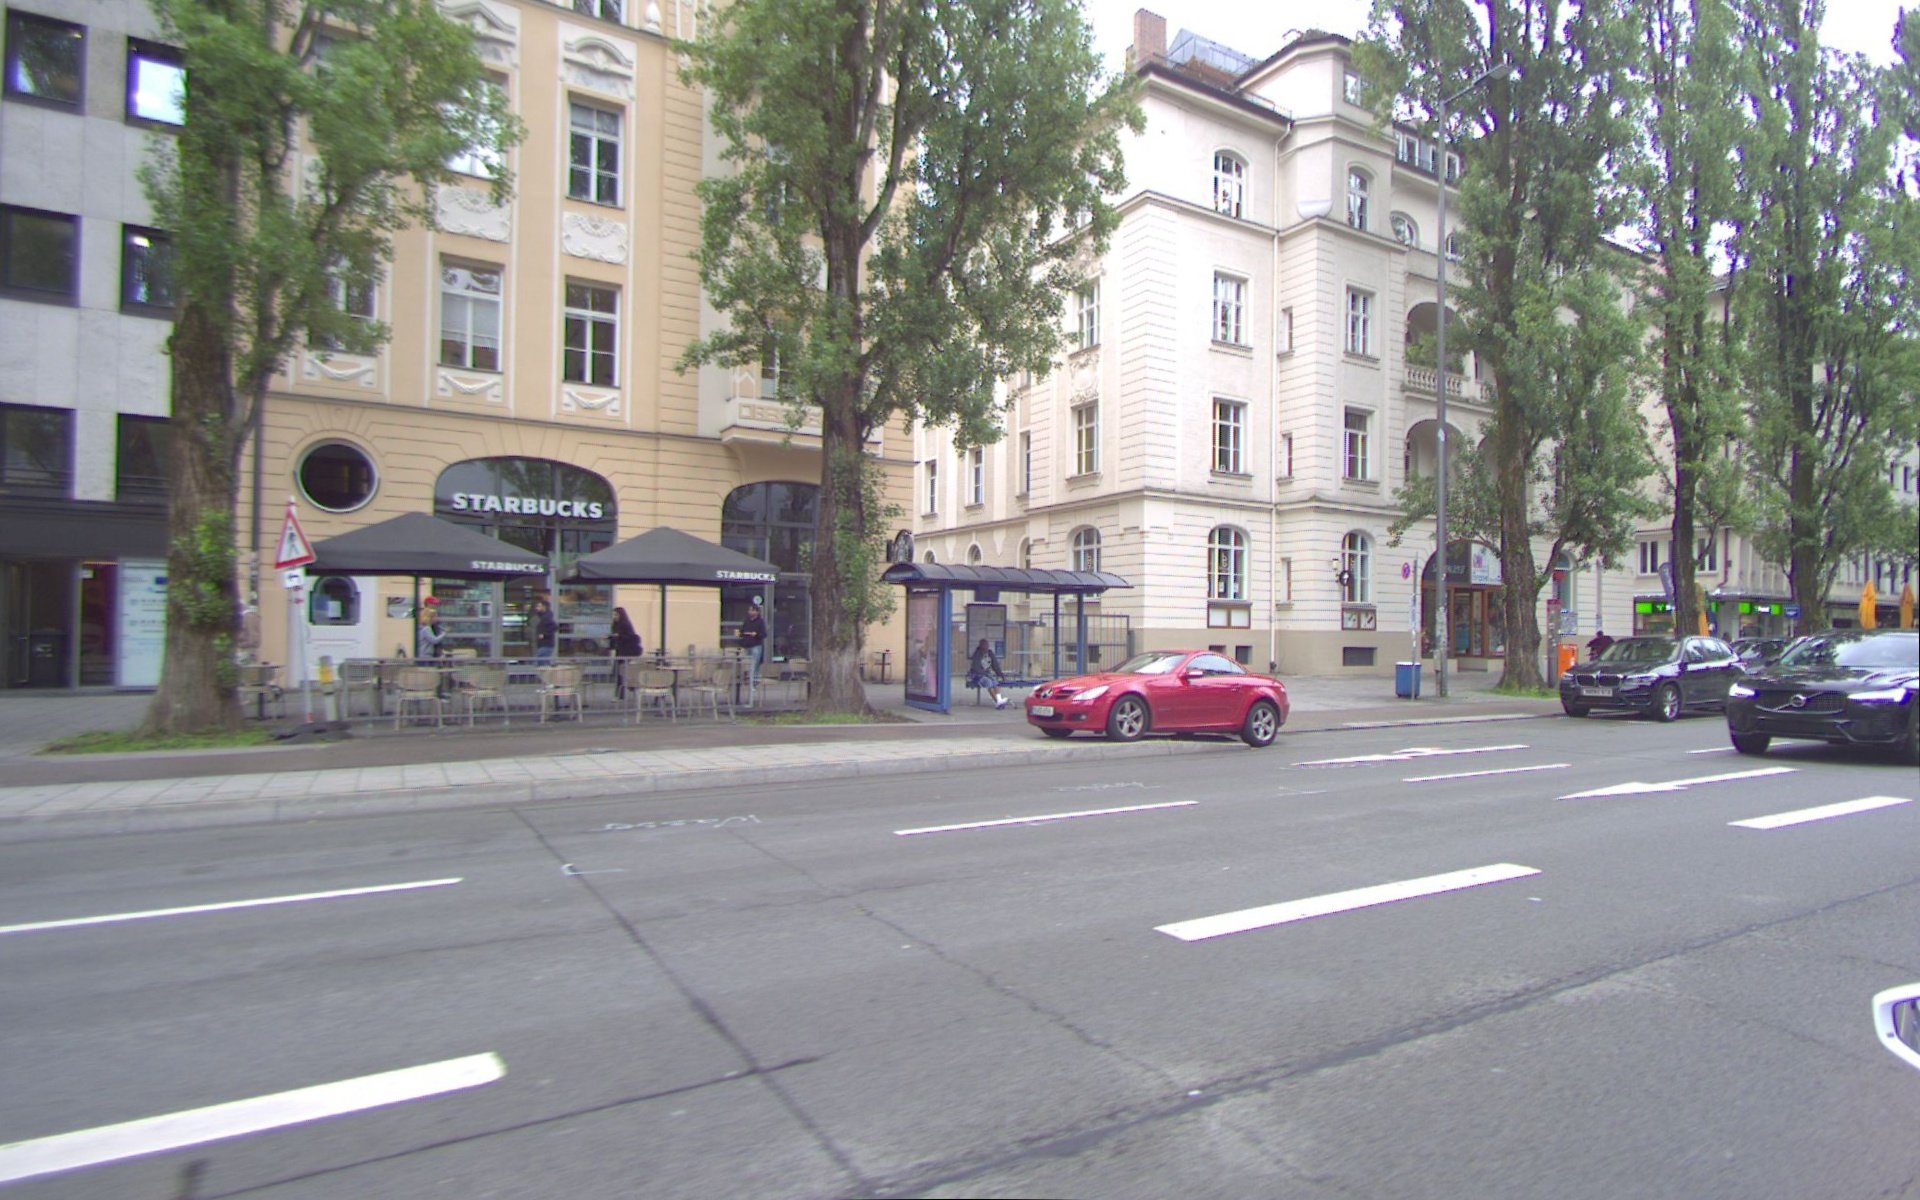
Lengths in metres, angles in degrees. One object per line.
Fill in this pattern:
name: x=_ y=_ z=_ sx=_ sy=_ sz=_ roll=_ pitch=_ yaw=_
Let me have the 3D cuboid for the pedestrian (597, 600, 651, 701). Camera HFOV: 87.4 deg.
pedestrian: x=-6.060 y=0.898 z=18.081 sx=0.809 sy=1.767 sz=0.903 roll=1 pitch=-1 yaw=-25

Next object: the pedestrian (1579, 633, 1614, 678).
pedestrian: x=22.615 y=1.971 z=35.695 sx=0.795 sy=1.558 sz=0.765 roll=2 pitch=0 yaw=-30

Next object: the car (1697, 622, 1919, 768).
car: x=11.892 y=1.174 z=13.280 sx=4.286 sy=1.644 sz=1.926 roll=2 pitch=-3 yaw=-31

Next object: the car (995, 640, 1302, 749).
car: x=2.694 y=1.245 z=14.205 sx=4.045 sy=1.315 sz=1.871 roll=2 pitch=-2 yaw=-29

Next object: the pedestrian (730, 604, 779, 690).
pedestrian: x=-4.325 y=0.976 z=21.128 sx=0.809 sy=1.767 sz=0.903 roll=1 pitch=-1 yaw=-25

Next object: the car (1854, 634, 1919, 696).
car: x=26.498 y=1.764 z=27.570 sx=4.084 sy=1.596 sz=1.773 roll=2 pitch=-1 yaw=-30

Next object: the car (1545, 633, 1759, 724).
car: x=14.137 y=1.526 z=20.454 sx=4.661 sy=1.639 sz=1.811 roll=2 pitch=-1 yaw=-30

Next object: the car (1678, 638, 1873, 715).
car: x=18.709 y=1.700 z=23.016 sx=4.571 sy=1.615 sz=1.797 roll=2 pitch=-2 yaw=-27

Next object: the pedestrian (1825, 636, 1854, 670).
pedestrian: x=45.906 y=2.760 z=52.417 sx=1.134 sy=1.767 sz=0.848 roll=1 pitch=-1 yaw=-30

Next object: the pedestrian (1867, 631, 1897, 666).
pedestrian: x=47.674 y=2.514 z=51.949 sx=1.134 sy=1.767 sz=0.848 roll=1 pitch=-1 yaw=-30

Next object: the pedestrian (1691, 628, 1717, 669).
pedestrian: x=31.671 y=2.069 z=42.773 sx=0.817 sy=1.744 sz=0.622 roll=2 pitch=-2 yaw=-31

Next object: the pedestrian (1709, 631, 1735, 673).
pedestrian: x=32.027 y=2.174 z=42.213 sx=0.817 sy=1.744 sz=0.622 roll=2 pitch=-2 yaw=-31

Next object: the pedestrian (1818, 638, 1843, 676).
pedestrian: x=41.090 y=2.686 z=47.401 sx=0.816 sy=1.744 sz=0.623 roll=1 pitch=-2 yaw=-28

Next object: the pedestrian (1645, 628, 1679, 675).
pedestrian: x=25.894 y=1.906 z=37.057 sx=0.941 sy=1.695 sz=0.731 roll=1 pitch=-1 yaw=-30

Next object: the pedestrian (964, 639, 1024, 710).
pedestrian: x=0.638 y=1.391 z=19.080 sx=0.748 sy=1.273 sz=0.957 roll=1 pitch=-1 yaw=-28

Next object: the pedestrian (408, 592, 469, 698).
pedestrian: x=-9.204 y=0.774 z=17.720 sx=0.901 sy=1.811 sz=0.796 roll=1 pitch=0 yaw=-30

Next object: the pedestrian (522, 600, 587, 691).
pedestrian: x=-7.942 y=0.865 z=19.649 sx=0.978 sy=1.707 sz=1.076 roll=2 pitch=0 yaw=-32

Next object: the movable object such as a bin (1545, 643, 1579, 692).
movable object such as a bin: x=16.543 y=1.846 z=27.611 sx=0.579 sy=1.333 sz=0.602 roll=1 pitch=-1 yaw=-29

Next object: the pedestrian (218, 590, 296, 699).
pedestrian: x=-11.856 y=0.740 z=16.982 sx=0.943 sy=1.767 sz=0.840 roll=2 pitch=0 yaw=-29

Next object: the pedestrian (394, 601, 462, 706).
pedestrian: x=-8.969 y=0.877 z=16.933 sx=0.966 sy=1.704 sz=0.728 roll=1 pitch=0 yaw=-30
